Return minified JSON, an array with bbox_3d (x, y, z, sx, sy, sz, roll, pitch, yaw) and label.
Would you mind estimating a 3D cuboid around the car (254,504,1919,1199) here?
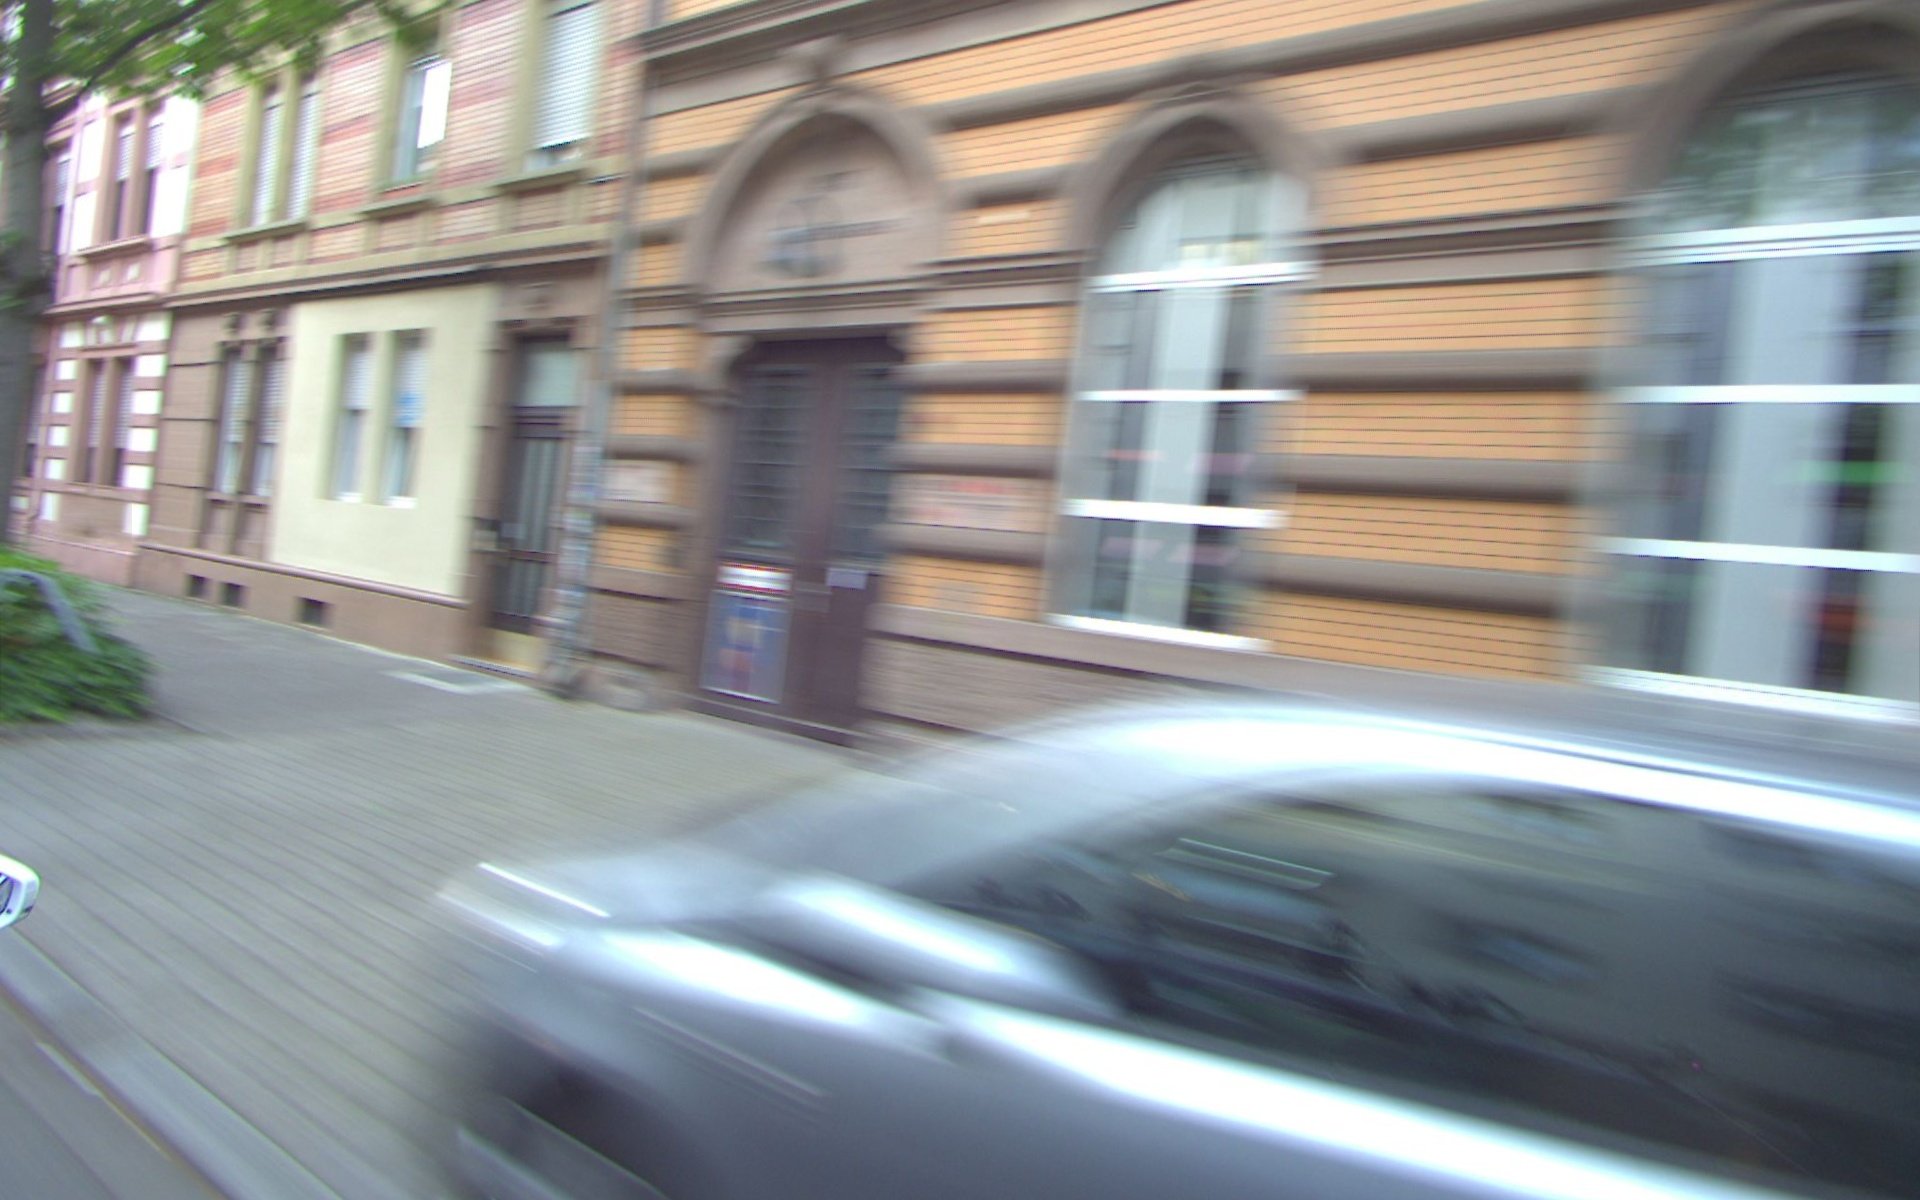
[{"bbox_3d":[0.667,0.785,1.899,3.932,1.502,1.699,7,1,30],"label":"car"}]
